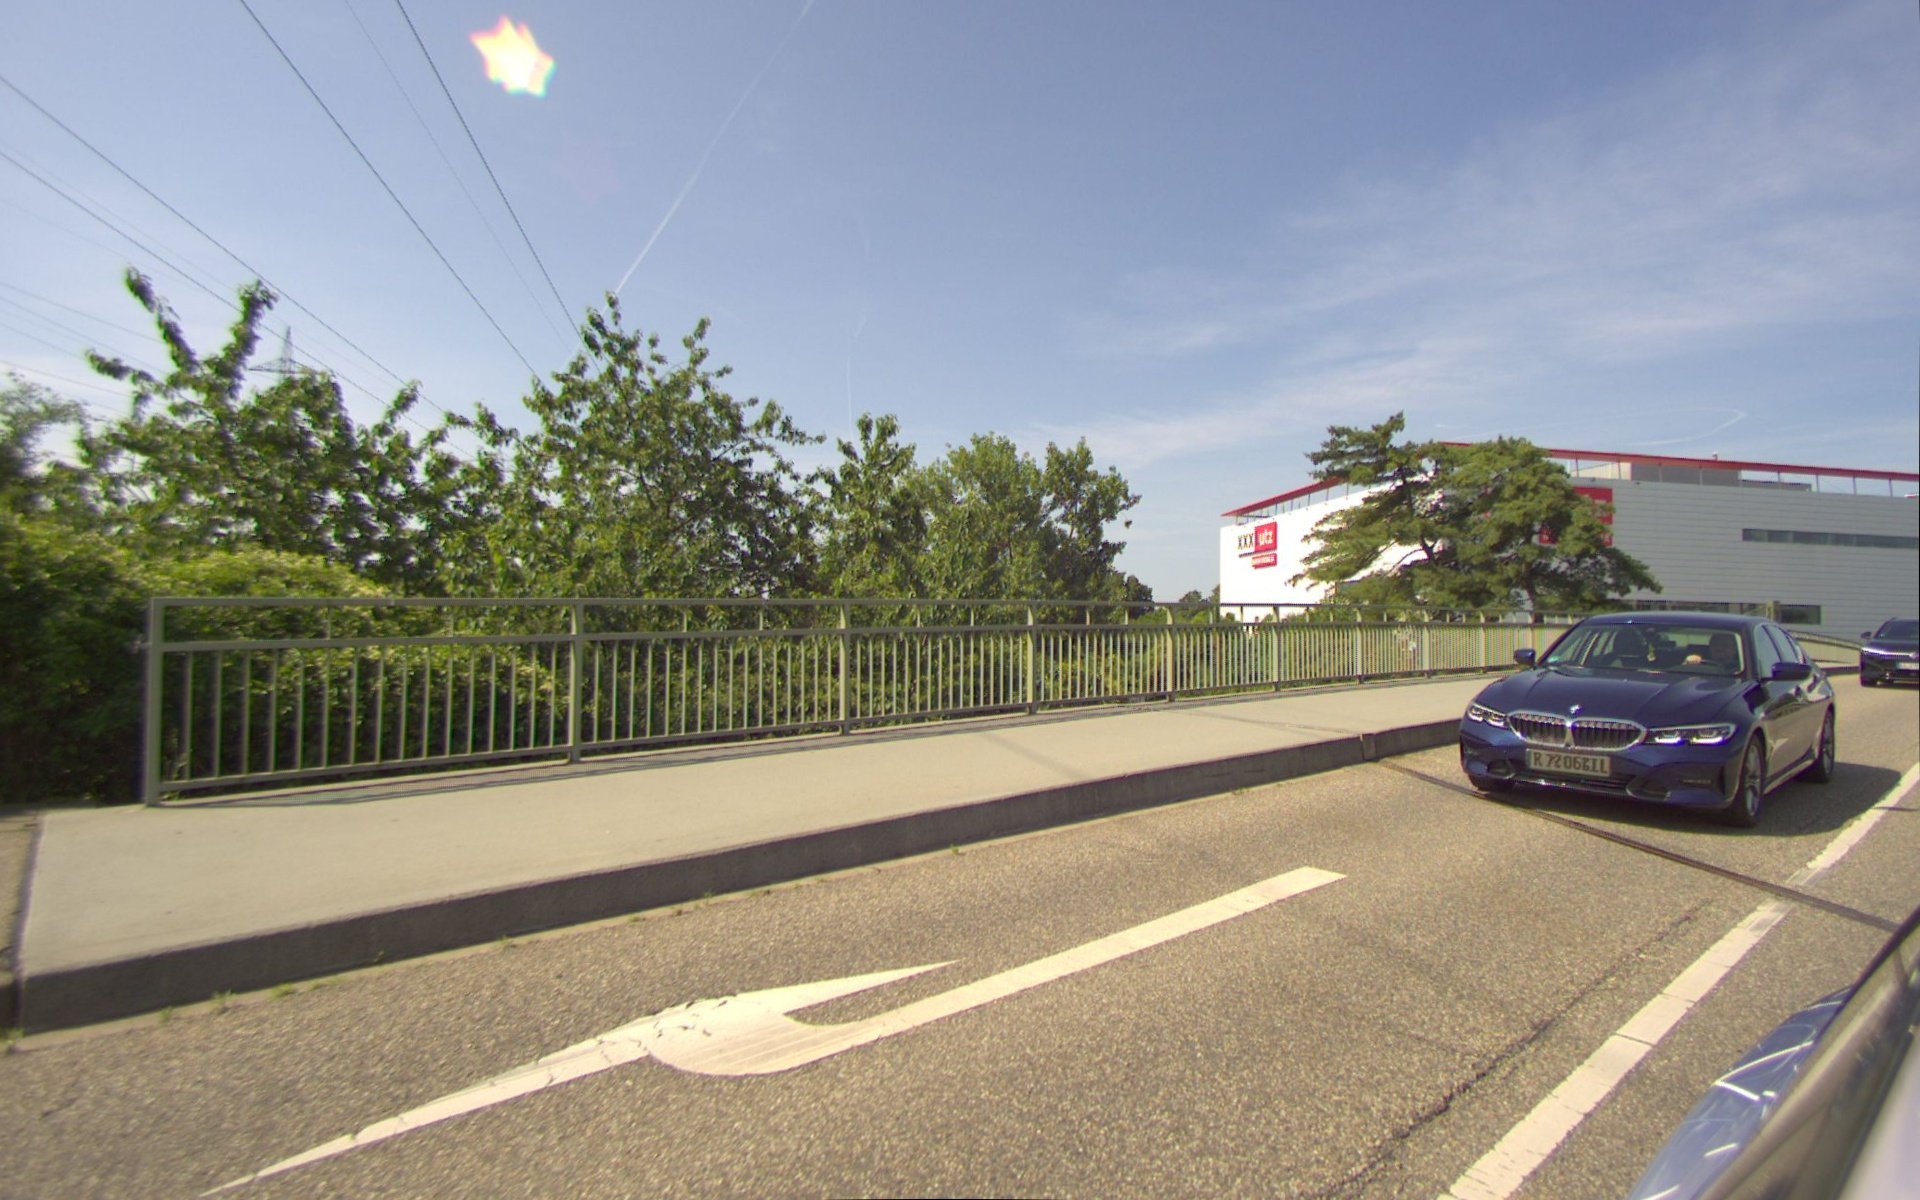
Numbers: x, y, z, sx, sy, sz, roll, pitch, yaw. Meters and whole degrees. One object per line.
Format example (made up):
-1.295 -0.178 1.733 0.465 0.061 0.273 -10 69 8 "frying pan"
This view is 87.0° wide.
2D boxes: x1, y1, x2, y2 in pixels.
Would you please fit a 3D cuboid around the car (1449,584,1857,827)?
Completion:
5.922 0.730 8.405 4.440 1.502 1.790 3 -2 -42 "car"

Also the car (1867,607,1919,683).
21.265 0.957 21.994 4.071 1.549 1.859 1 -1 -41 "car"
